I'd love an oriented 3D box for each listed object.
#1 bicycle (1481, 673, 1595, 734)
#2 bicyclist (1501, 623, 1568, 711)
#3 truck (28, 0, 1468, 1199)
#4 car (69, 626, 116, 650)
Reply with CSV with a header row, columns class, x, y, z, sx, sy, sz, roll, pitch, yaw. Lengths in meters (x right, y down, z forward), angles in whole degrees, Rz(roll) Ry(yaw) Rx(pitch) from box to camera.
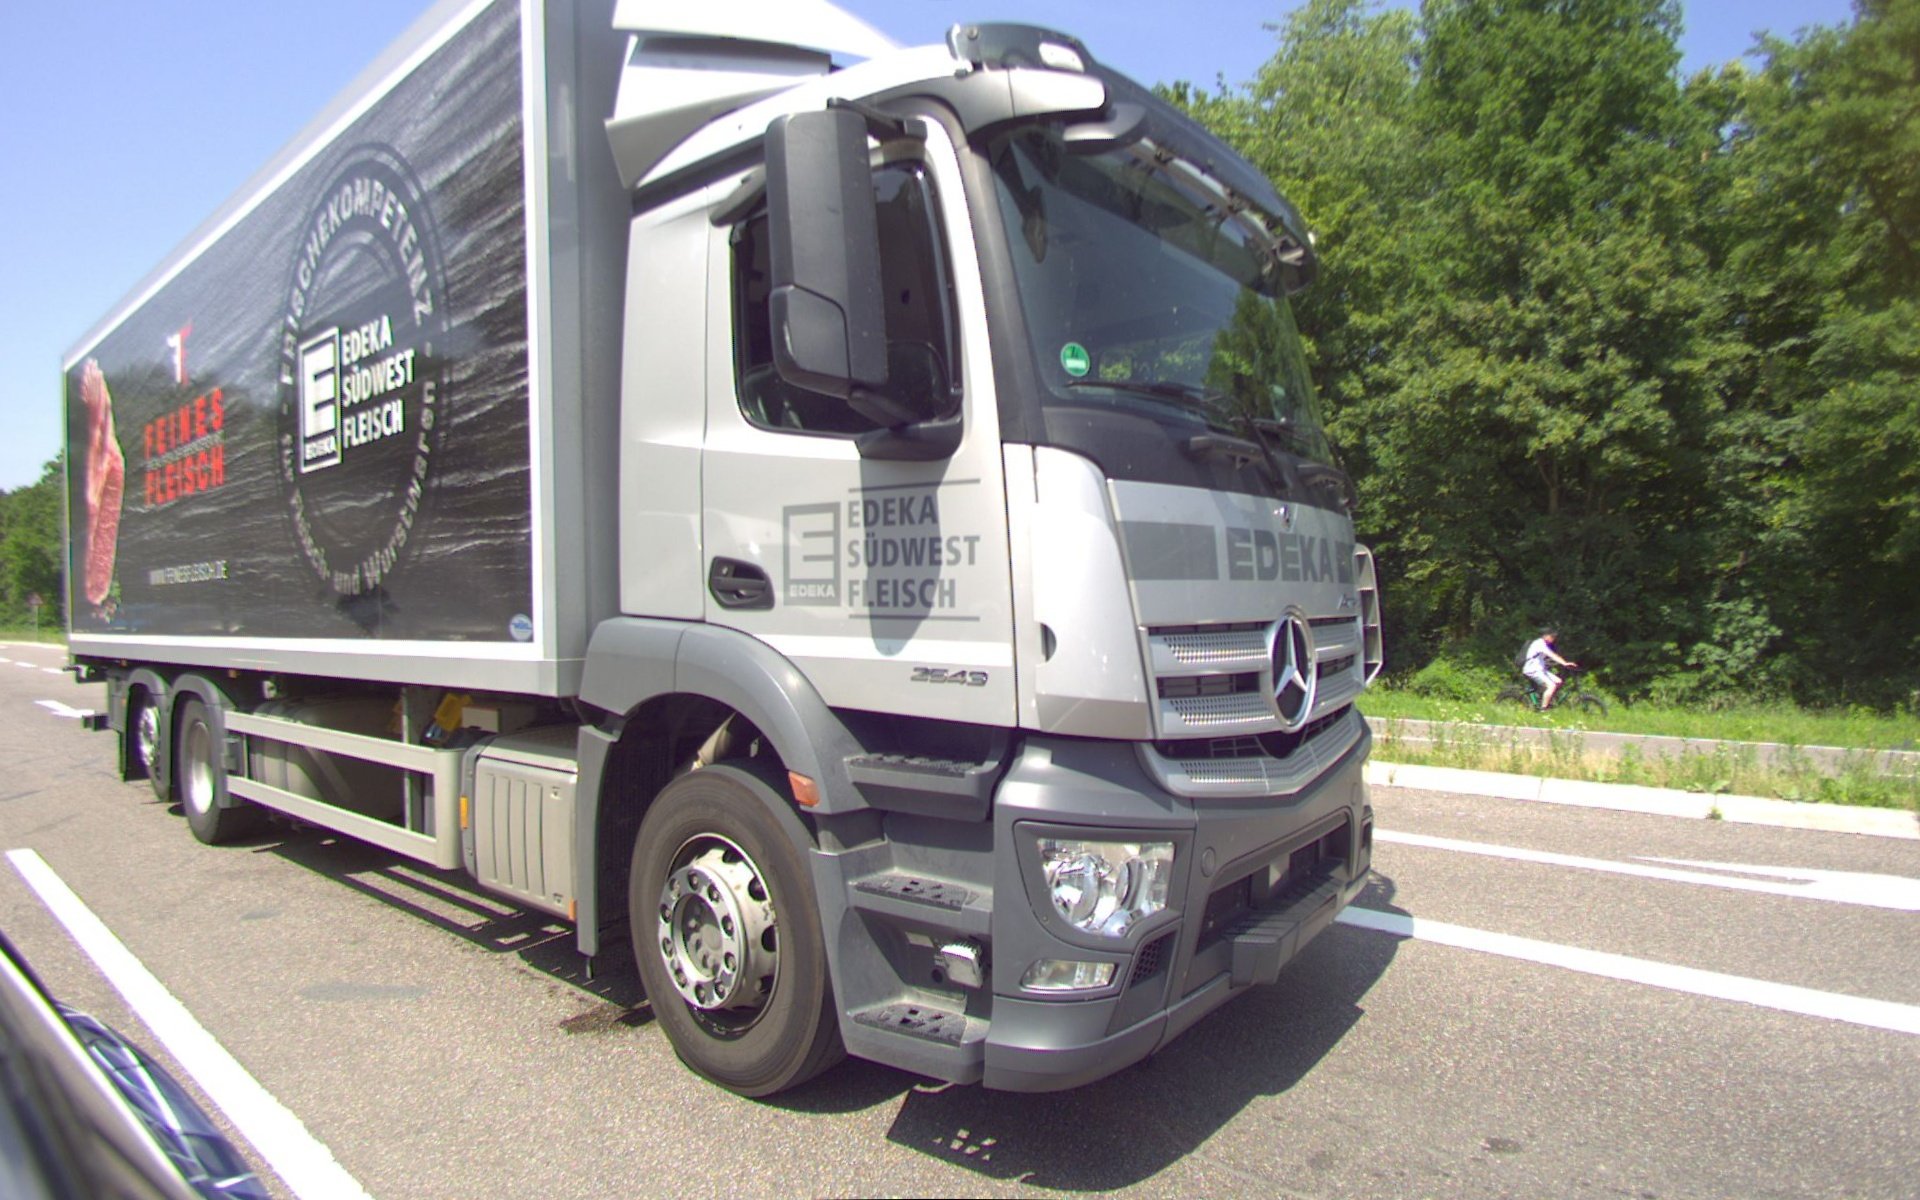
class,x,y,z,sx,sy,sz,roll,pitch,yaw
bicycle,9.922,1.750,17.419,0.558,0.930,1.608,2,-2,-40
bicyclist,9.899,1.140,17.456,0.651,1.476,0.811,2,-2,-40
truck,-3.198,-0.511,6.623,11.309,3.914,2.719,-1,-1,39
car,-62.222,2.701,72.571,3.997,1.564,1.973,-1,0,40
